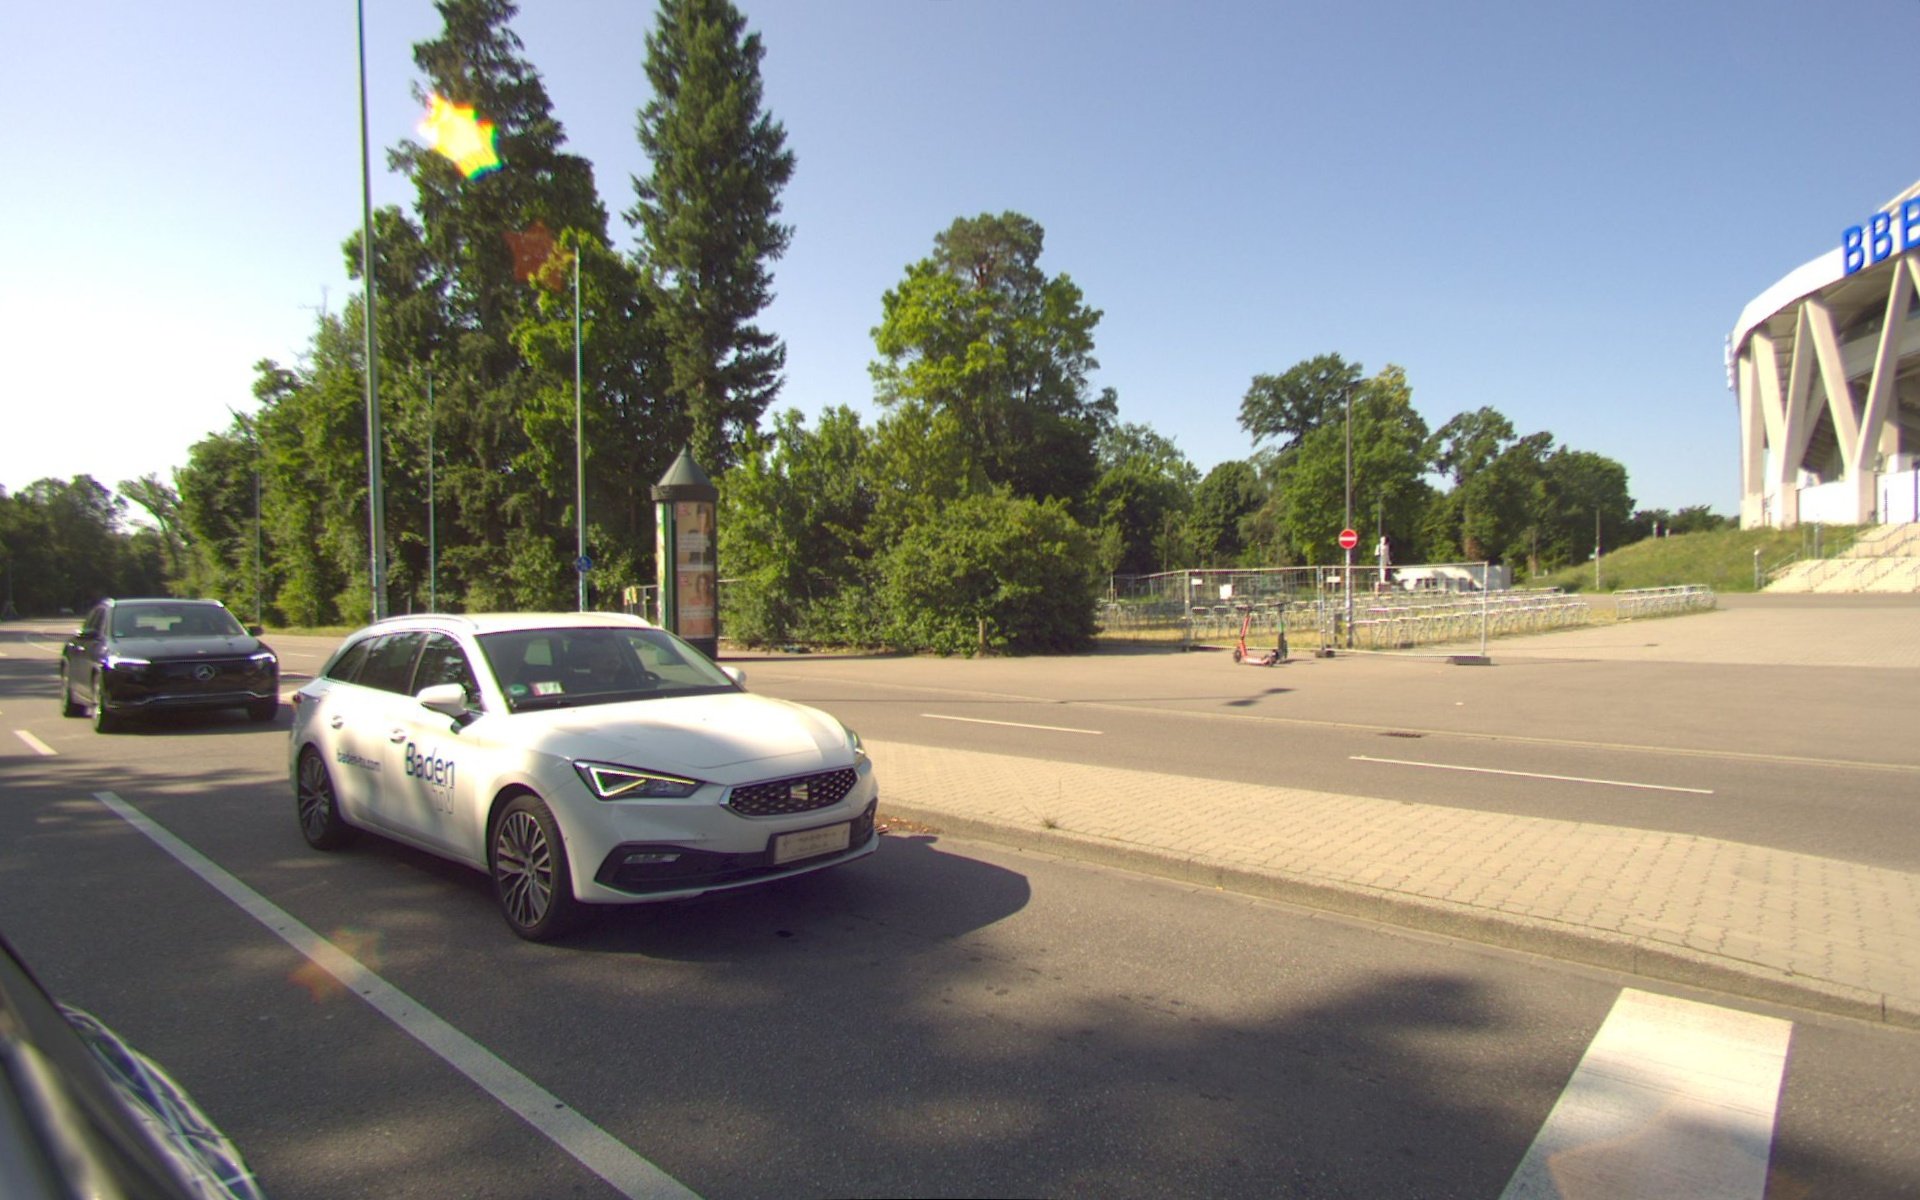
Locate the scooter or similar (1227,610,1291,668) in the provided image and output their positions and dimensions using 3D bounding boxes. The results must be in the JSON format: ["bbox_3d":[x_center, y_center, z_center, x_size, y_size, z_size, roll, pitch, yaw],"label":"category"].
[{"bbox_3d":[6.124,0.788,20.751,0.390,1.154,1.197,-1,0,-43],"label":"scooter or similar"}]

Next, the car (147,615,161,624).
[{"bbox_3d":[-145.534,3.503,182.754,1.828,1.630,4.008,-1,0,-37],"label":"car"}]

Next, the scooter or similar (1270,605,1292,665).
[{"bbox_3d":[6.753,0.724,21.307,0.393,1.231,1.075,-1,0,17],"label":"scooter or similar"}]

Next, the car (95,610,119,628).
[{"bbox_3d":[-94.816,2.110,112.470,1.849,1.874,4.005,-1,0,-42],"label":"car"}]

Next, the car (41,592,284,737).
[{"bbox_3d":[-10.565,0.766,13.296,4.271,1.608,1.785,-2,-2,42],"label":"car"}]

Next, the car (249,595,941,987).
[{"bbox_3d":[-2.434,0.734,5.912,4.717,1.437,1.707,-1,-1,41],"label":"car"}]
